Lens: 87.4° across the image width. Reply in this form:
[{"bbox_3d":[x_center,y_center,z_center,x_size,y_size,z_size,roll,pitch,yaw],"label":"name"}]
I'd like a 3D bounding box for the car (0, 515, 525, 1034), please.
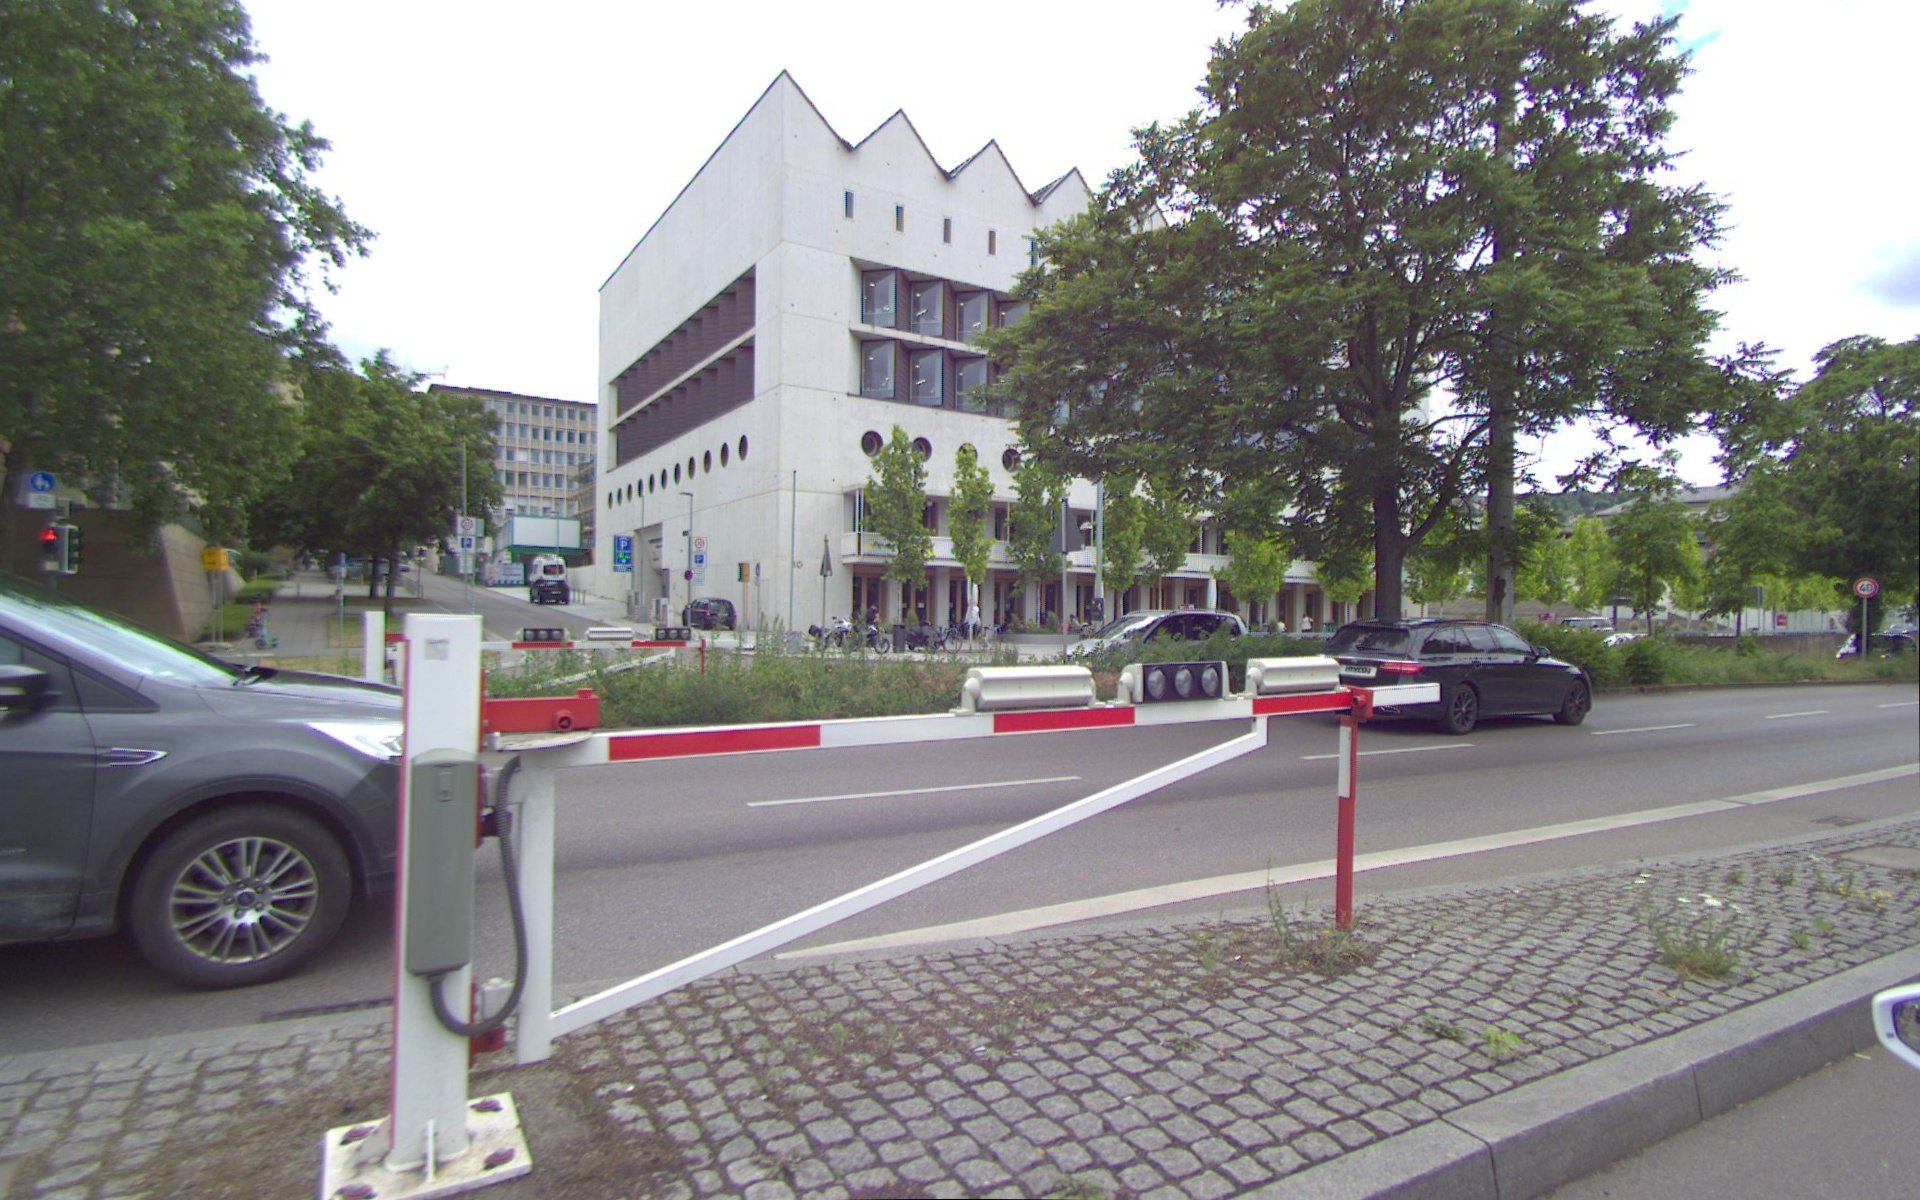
[{"bbox_3d":[-4.271,0.564,3.799,4.606,1.738,1.883,1,1,-32],"label":"car"}]

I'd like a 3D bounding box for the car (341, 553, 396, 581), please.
[{"bbox_3d":[-46.591,-2.552,79.194,3.640,2.040,1.576,1,-1,-30],"label":"car"}]

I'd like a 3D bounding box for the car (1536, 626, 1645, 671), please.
[{"bbox_3d":[23.392,1.803,37.243,3.954,1.481,1.747,2,1,-30],"label":"car"}]

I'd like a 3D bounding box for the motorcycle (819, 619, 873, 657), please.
[{"bbox_3d":[-3.956,1.321,34.804,1.858,1.249,0.657,0,-3,34],"label":"motorcycle"}]

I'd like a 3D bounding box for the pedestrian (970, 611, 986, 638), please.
[{"bbox_3d":[0.897,1.235,50.439,0.559,1.344,0.516,3,-2,-32],"label":"pedestrian"}]

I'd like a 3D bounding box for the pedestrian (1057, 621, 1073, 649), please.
[{"bbox_3d":[5.258,1.741,50.491,0.622,1.344,0.651,-2,-5,-5],"label":"pedestrian"}]

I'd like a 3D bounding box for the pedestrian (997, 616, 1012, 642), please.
[{"bbox_3d":[2.312,1.508,51.787,0.559,1.344,0.516,3,-2,-32],"label":"pedestrian"}]

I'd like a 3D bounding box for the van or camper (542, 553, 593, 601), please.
[{"bbox_3d":[-29.594,-1.756,75.632,2.371,3.392,6.275,2,1,-32],"label":"van or camper"}]

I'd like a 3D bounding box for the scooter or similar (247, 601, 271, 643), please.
[{"bbox_3d":[-23.368,0.727,33.488,0.532,1.358,1.407,1,-1,-31],"label":"scooter or similar"}]

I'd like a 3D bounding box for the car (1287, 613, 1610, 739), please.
[{"bbox_3d":[7.029,1.019,14.309,4.808,1.479,1.803,2,0,-31],"label":"car"}]

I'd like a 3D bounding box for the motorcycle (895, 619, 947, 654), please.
[{"bbox_3d":[-1.460,1.344,37.098,1.858,1.249,0.657,0,-3,34],"label":"motorcycle"}]

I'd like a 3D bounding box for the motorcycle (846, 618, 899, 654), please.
[{"bbox_3d":[-3.134,1.282,35.941,1.858,1.249,0.657,0,-3,34],"label":"motorcycle"}]

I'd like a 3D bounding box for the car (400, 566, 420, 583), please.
[{"bbox_3d":[-72.876,-3.359,133.103,1.979,2.040,3.964,1,-1,-33],"label":"car"}]

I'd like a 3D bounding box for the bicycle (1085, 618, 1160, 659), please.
[{"bbox_3d":[7.096,1.651,44.204,1.170,1.706,3.593,1,-1,-32],"label":"bicycle"}]

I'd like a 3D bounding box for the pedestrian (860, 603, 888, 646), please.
[{"bbox_3d":[-3.201,0.925,37.577,0.865,1.577,0.598,0,-1,16],"label":"pedestrian"}]

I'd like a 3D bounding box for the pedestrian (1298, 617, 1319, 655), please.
[{"bbox_3d":[19.472,2.016,56.103,0.734,2.037,0.704,5,-11,-44],"label":"pedestrian"}]

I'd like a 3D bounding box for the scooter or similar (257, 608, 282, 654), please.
[{"bbox_3d":[-20.934,0.935,30.477,0.532,1.358,1.407,1,-1,-31],"label":"scooter or similar"}]

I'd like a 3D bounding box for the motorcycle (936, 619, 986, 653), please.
[{"bbox_3d":[0.043,1.385,38.562,1.858,1.249,0.657,0,-3,34],"label":"motorcycle"}]

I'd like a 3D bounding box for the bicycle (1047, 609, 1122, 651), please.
[{"bbox_3d":[5.240,1.269,42.639,1.170,1.706,3.593,1,-1,-32],"label":"bicycle"}]

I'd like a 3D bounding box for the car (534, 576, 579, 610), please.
[{"bbox_3d":[-25.564,-0.458,63.539,1.977,1.874,3.966,2,2,-31],"label":"car"}]

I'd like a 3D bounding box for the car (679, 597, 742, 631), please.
[{"bbox_3d":[-11.661,0.617,46.818,1.732,1.293,3.965,2,2,-31],"label":"car"}]

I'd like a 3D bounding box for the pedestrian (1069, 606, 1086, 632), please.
[{"bbox_3d":[6.253,1.005,53.398,0.643,1.345,0.629,1,0,-29],"label":"pedestrian"}]

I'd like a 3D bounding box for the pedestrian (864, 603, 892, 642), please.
[{"bbox_3d":[-3.457,0.954,42.471,0.752,1.589,1.094,2,1,-28],"label":"pedestrian"}]

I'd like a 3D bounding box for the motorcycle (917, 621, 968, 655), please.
[{"bbox_3d":[-0.676,1.426,37.815,1.858,1.249,0.657,0,-3,34],"label":"motorcycle"}]
